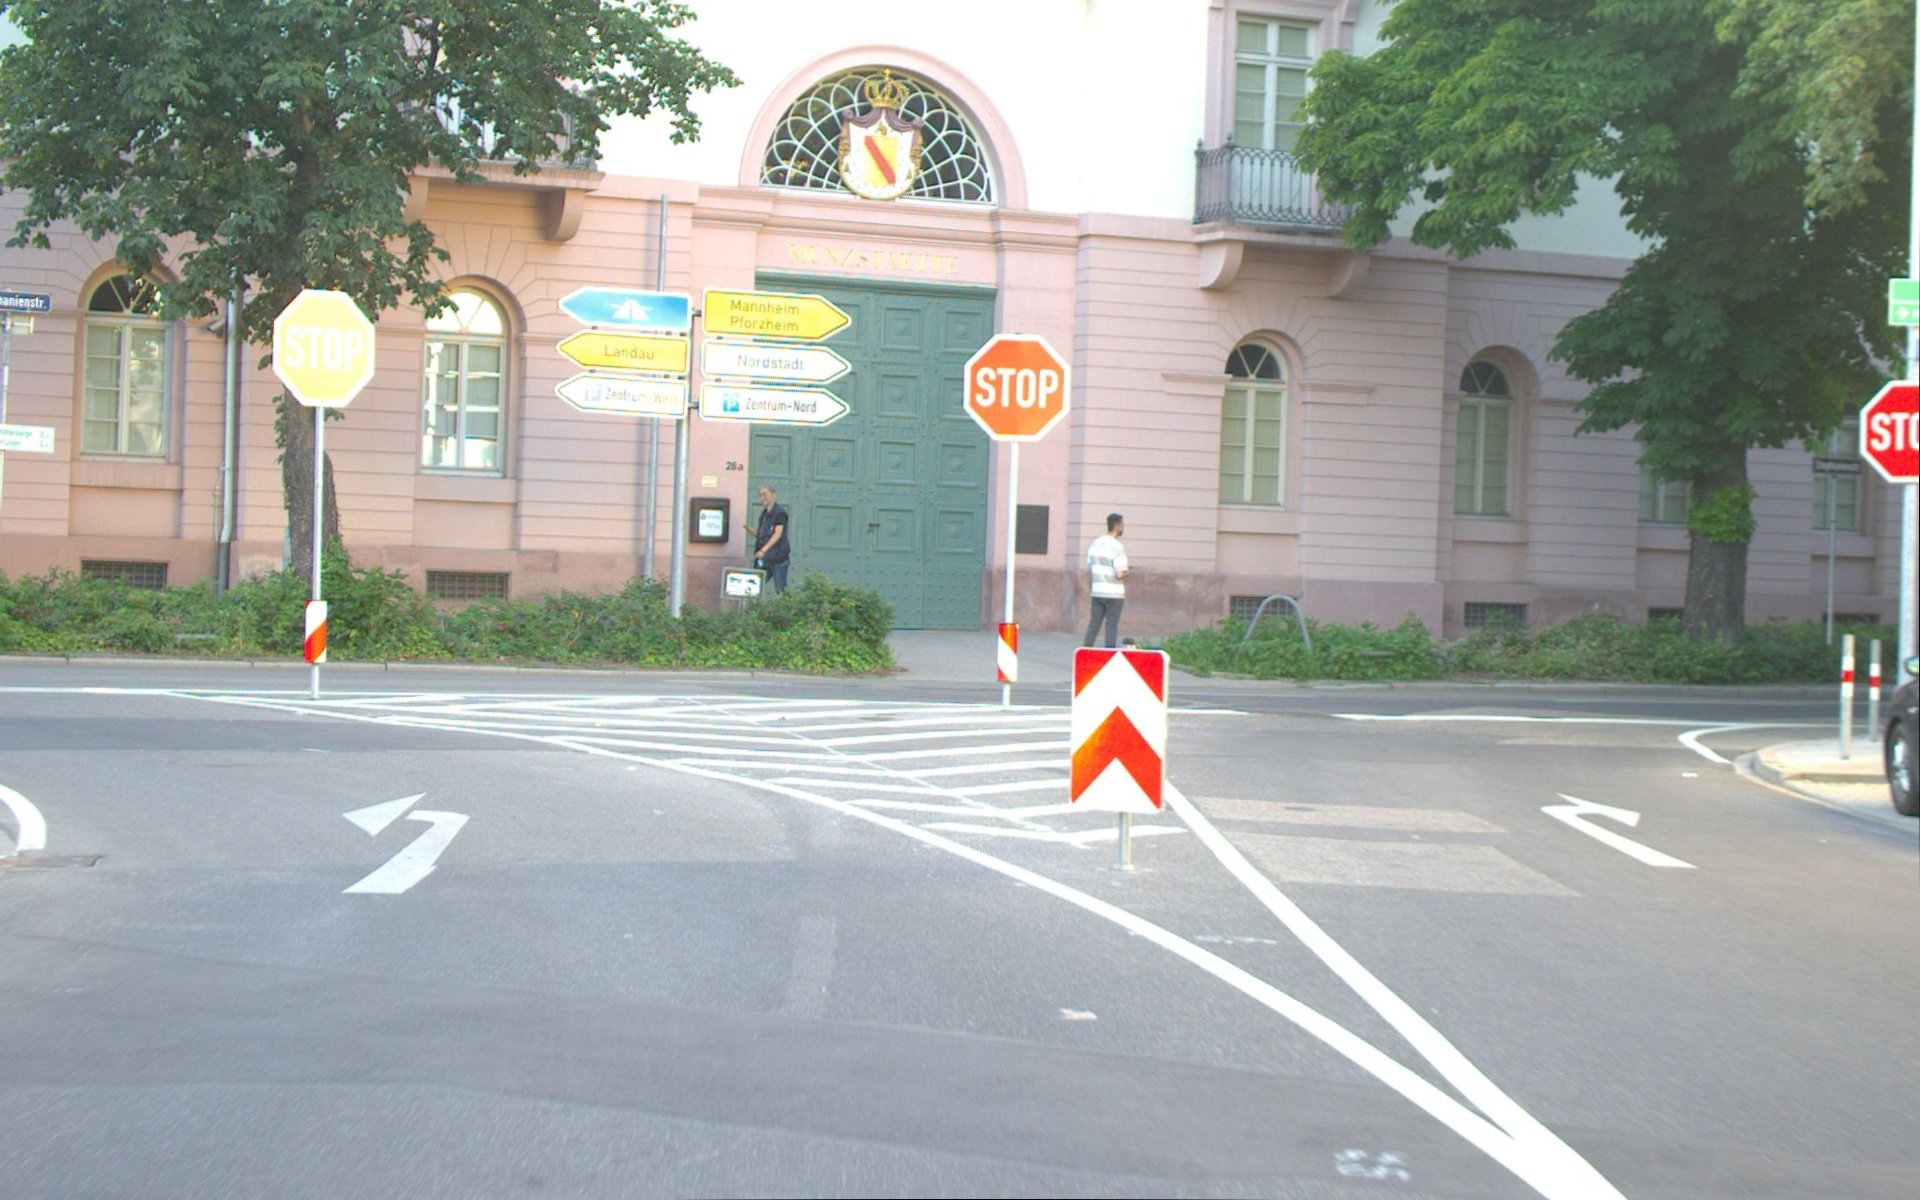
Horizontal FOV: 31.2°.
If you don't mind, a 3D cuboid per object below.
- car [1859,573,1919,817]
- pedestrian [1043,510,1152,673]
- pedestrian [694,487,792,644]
[{"bbox_3d":[7.062,0.673,21.161,1.801,1.536,4.431,3,1,0],"label":"car"},{"bbox_3d":[1.583,-0.100,39.585,0.926,1.825,0.801,1,1,-27],"label":"pedestrian"},{"bbox_3d":[-2.595,-0.417,41.009,0.798,1.832,1.083,1,1,-23],"label":"pedestrian"}]
